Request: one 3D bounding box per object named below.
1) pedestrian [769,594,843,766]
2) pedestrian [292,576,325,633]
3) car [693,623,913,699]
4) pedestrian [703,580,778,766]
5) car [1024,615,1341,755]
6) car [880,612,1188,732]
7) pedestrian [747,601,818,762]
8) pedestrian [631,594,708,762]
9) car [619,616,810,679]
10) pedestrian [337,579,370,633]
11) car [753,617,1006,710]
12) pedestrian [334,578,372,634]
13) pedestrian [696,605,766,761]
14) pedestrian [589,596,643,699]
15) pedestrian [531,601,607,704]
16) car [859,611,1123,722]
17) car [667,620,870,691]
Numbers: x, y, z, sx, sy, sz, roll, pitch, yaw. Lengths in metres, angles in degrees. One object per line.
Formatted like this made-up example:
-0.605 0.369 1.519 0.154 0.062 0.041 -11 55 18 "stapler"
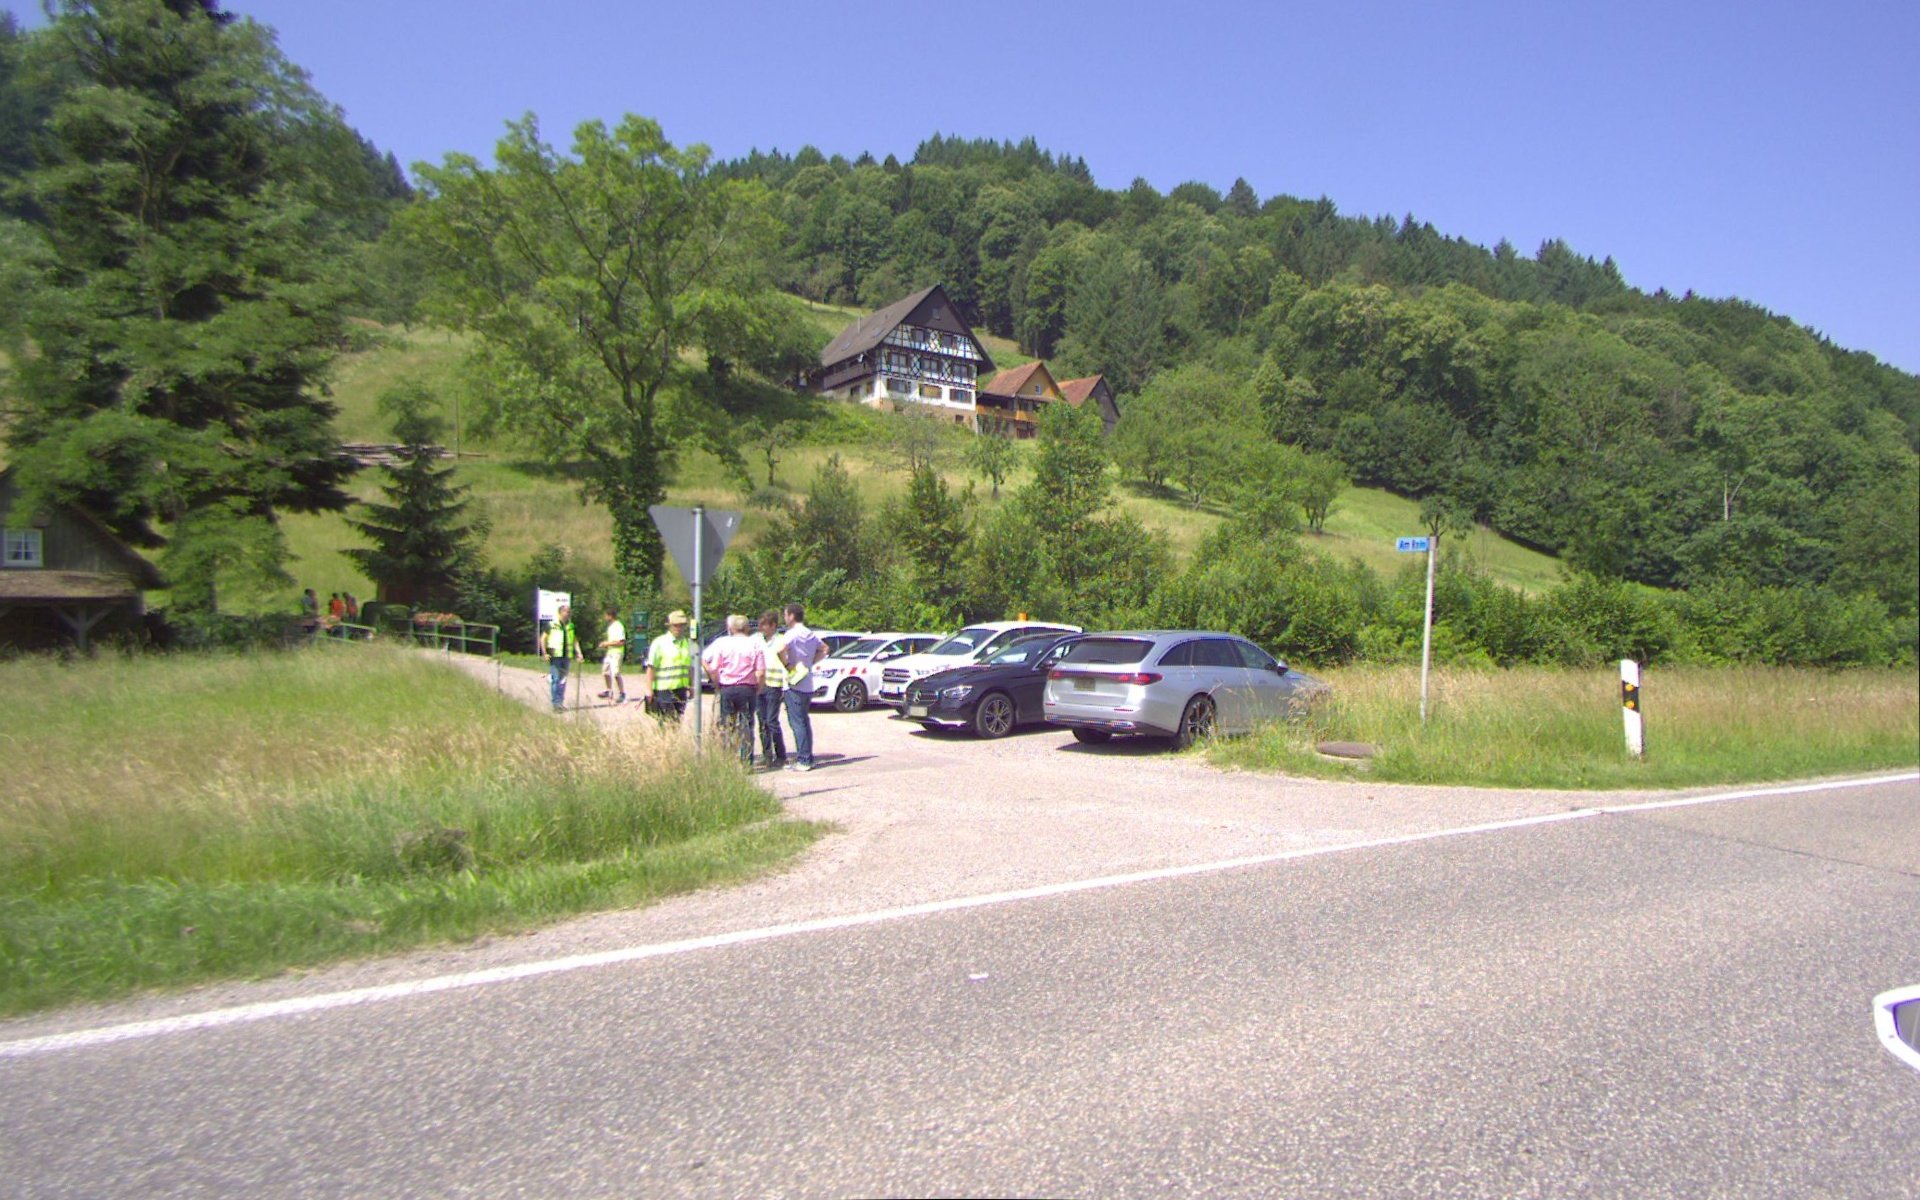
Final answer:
-1.729 0.889 11.366 0.756 1.883 0.649 0 -2 -4 "pedestrian"
-23.772 0.180 36.656 0.924 2.040 0.694 2 -2 -37 "pedestrian"
-3.408 1.313 22.345 4.485 1.520 1.977 2 -3 -40 "car"
-2.423 0.788 11.089 0.653 1.980 0.530 -2 -2 42 "pedestrian"
3.035 1.025 13.257 4.240 1.520 1.812 0 -3 -39 "car"
1.224 1.114 15.987 4.566 1.673 1.985 2 -3 -29 "car"
-2.112 0.958 12.016 0.756 1.864 0.649 0 -2 -5 "pedestrian"
-3.380 0.886 11.659 0.689 1.866 0.785 2 -2 -27 "pedestrian"
-6.366 1.228 26.352 4.485 1.520 1.977 2 -3 -40 "car"
-23.259 0.249 38.511 0.925 2.040 0.692 2 -2 -42 "pedestrian"
-1.548 1.240 20.435 4.858 1.663 1.978 2 -2 -38 "car"
-22.562 0.241 37.341 0.913 2.040 0.701 1 -2 5 "pedestrian"
-2.763 0.985 12.182 0.780 1.819 0.769 1 -2 -11 "pedestrian"
-6.928 0.950 20.227 0.851 1.995 1.122 1 -2 -28 "pedestrian"
-7.161 0.952 18.387 0.944 1.818 0.994 -2 -2 44 "pedestrian"
0.649 1.161 18.592 4.724 1.806 1.859 2 -1 -35 "car"
-4.630 1.314 24.616 4.485 1.520 1.977 2 0 -40 "car"
